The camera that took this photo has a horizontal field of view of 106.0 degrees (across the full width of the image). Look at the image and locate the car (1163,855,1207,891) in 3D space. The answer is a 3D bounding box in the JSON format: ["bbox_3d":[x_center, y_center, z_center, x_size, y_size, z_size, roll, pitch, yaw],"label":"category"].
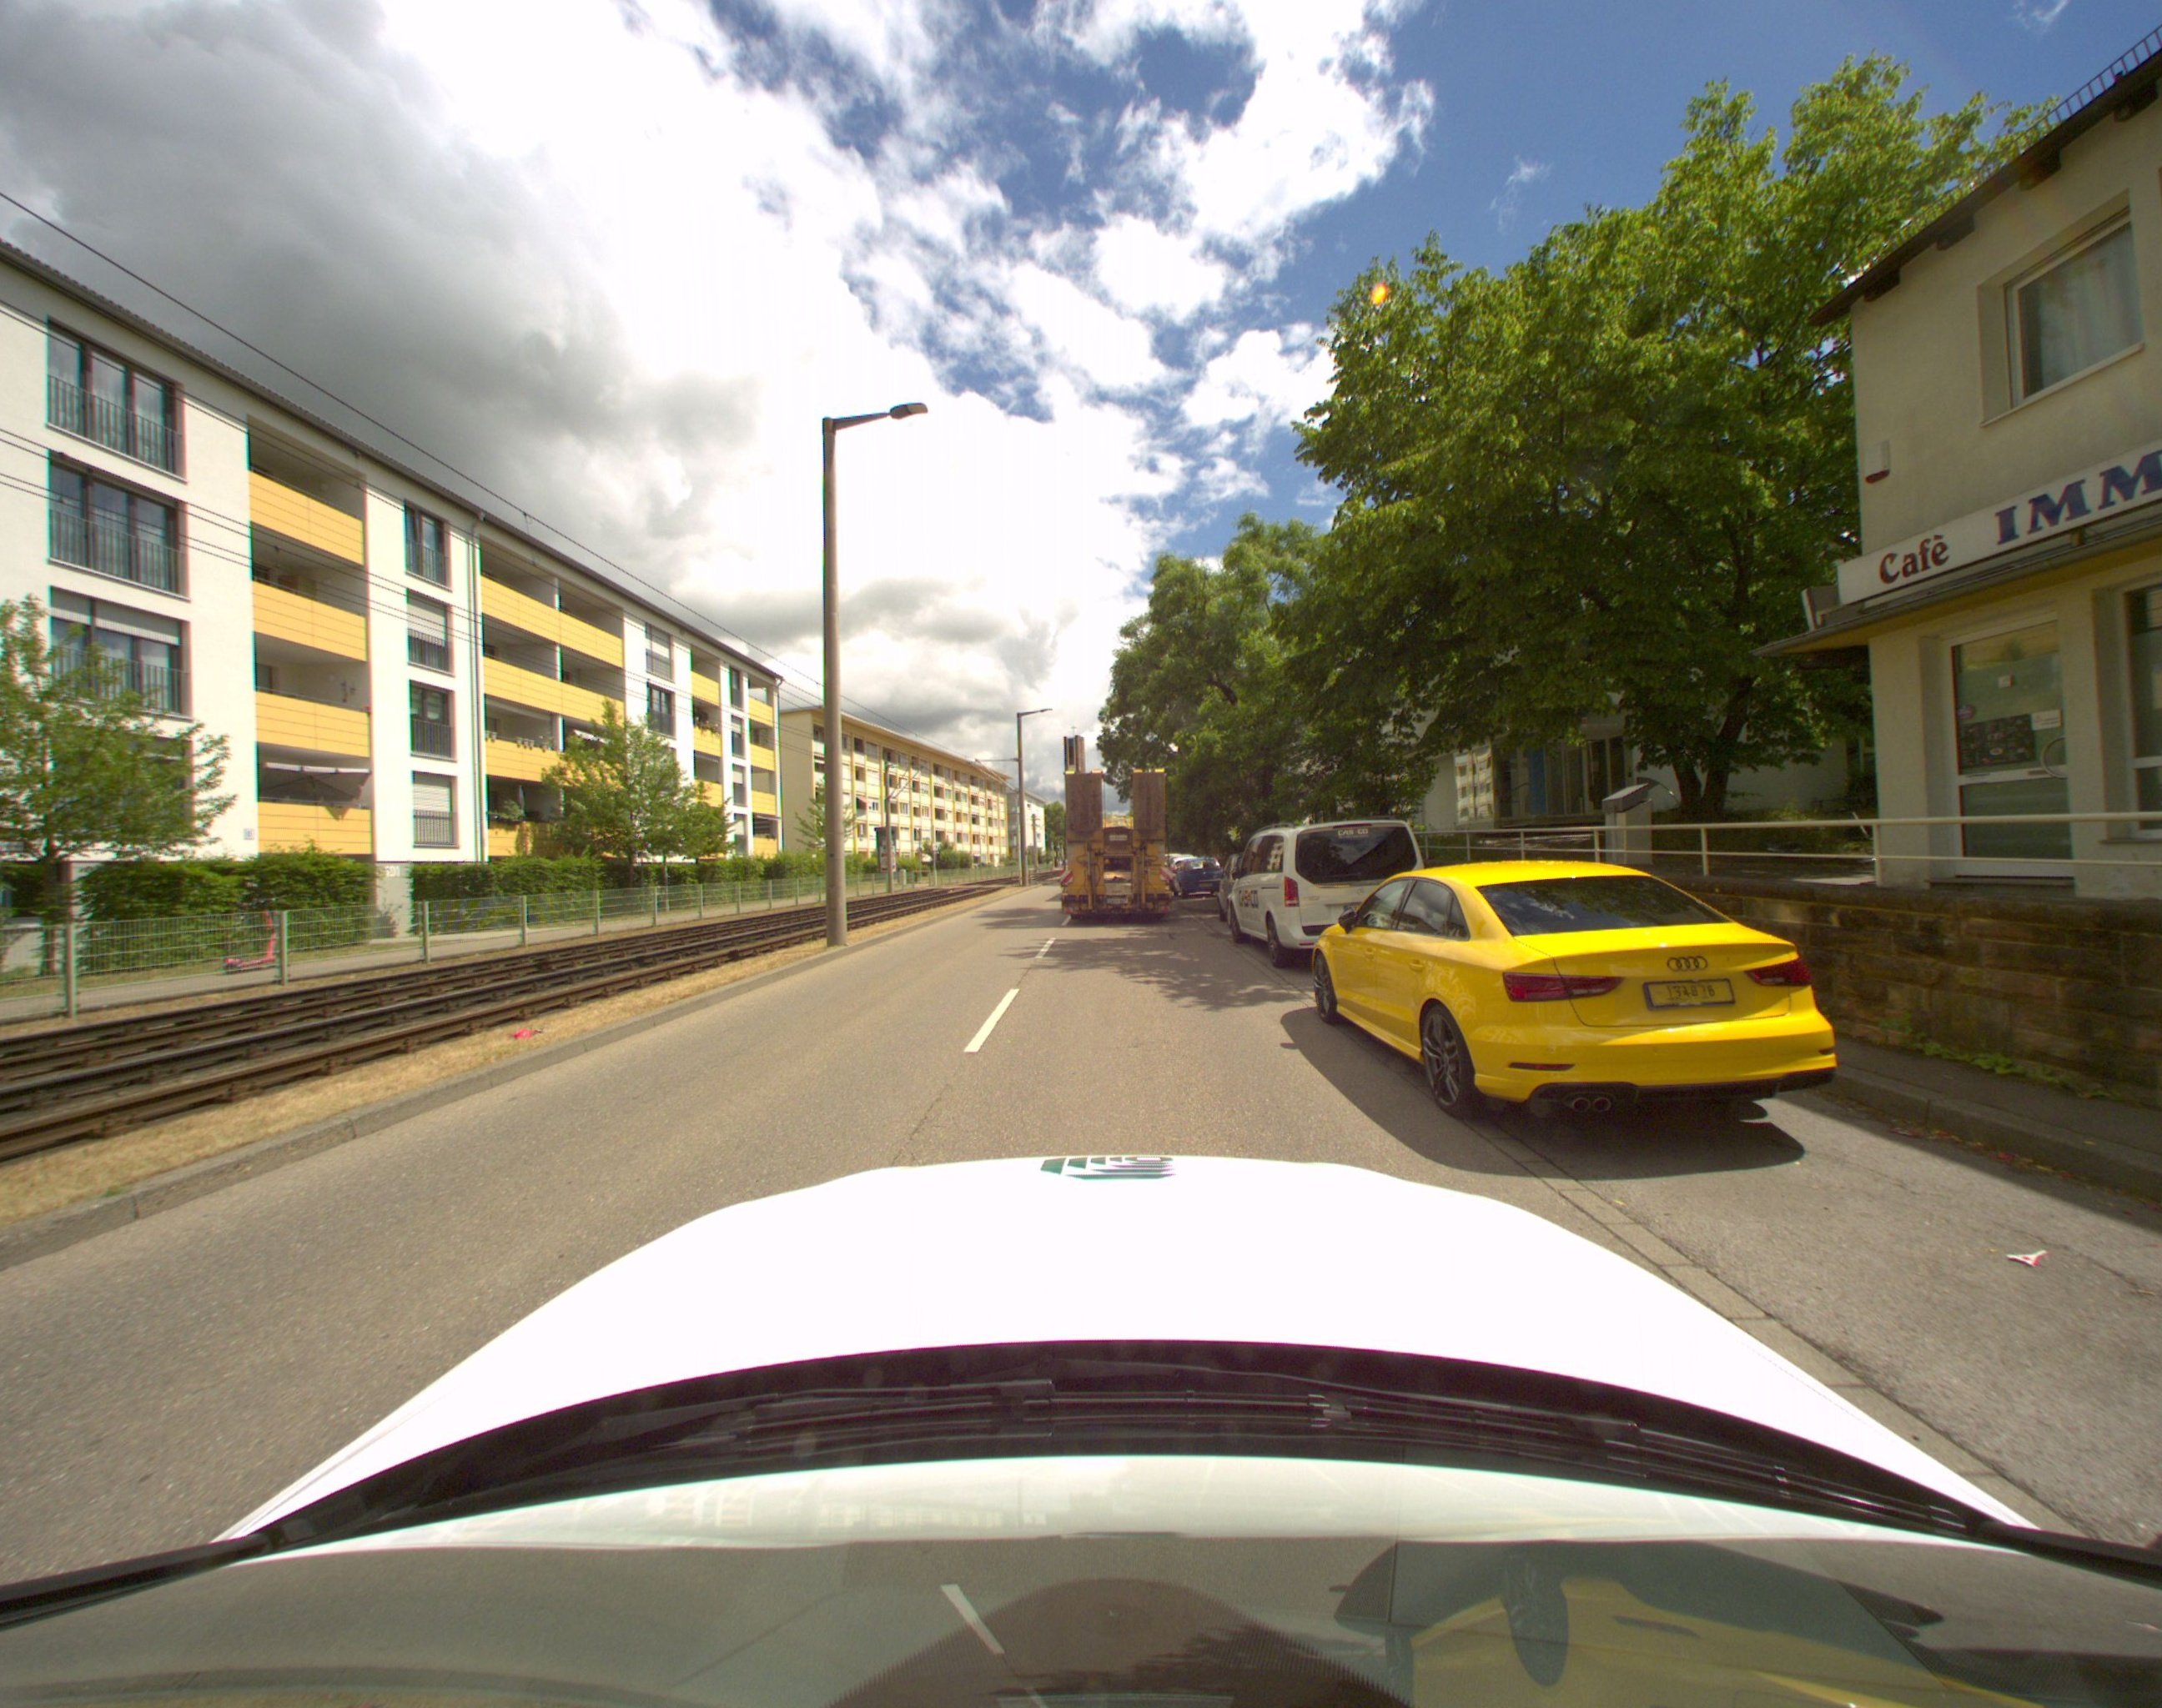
[{"bbox_3d":[4.664,0.823,36.876,1.638,1.490,3.825,-2,0,3],"label":"car"}]

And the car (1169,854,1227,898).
[{"bbox_3d":[4.269,0.772,30.225,1.602,1.456,3.676,-3,0,1],"label":"car"}]

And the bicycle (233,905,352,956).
[{"bbox_3d":[-18.748,1.790,19.439,0.552,0.979,2.215,-2,0,4],"label":"bicycle"}]

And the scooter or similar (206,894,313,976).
[{"bbox_3d":[-14.393,1.390,14.315,0.488,1.293,1.303,-2,0,2],"label":"scooter or similar"}]

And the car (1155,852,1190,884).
[{"bbox_3d":[5.187,0.747,46.663,1.815,1.682,4.582,-3,0,5],"label":"car"}]

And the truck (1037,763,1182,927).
[{"bbox_3d":[0.814,-0.201,24.437,3.112,3.564,12.463,-2,0,2],"label":"truck"}]

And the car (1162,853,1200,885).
[{"bbox_3d":[5.111,0.732,42.008,1.575,1.552,3.476,-2,0,1],"label":"car"}]

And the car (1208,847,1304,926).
[{"bbox_3d":[3.782,0.667,18.021,1.507,1.534,2.848,-3,0,2],"label":"car"}]

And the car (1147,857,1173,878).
[{"bbox_3d":[5.987,1.005,61.744,1.827,1.405,4.419,-3,0,5],"label":"car"}]

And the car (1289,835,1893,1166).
[{"bbox_3d":[2.923,0.690,5.966,1.748,1.442,4.343,-4,0,2],"label":"car"}]

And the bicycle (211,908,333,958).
[{"bbox_3d":[-19.264,1.859,19.473,0.552,0.979,2.215,-2,0,4],"label":"bicycle"}]

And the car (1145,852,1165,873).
[{"bbox_3d":[7.214,0.822,79.875,1.791,1.968,4.594,-3,0,4],"label":"car"}]

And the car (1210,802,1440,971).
[{"bbox_3d":[3.422,0.401,12.767,1.907,1.958,5.746,-3,0,1],"label":"car"}]
